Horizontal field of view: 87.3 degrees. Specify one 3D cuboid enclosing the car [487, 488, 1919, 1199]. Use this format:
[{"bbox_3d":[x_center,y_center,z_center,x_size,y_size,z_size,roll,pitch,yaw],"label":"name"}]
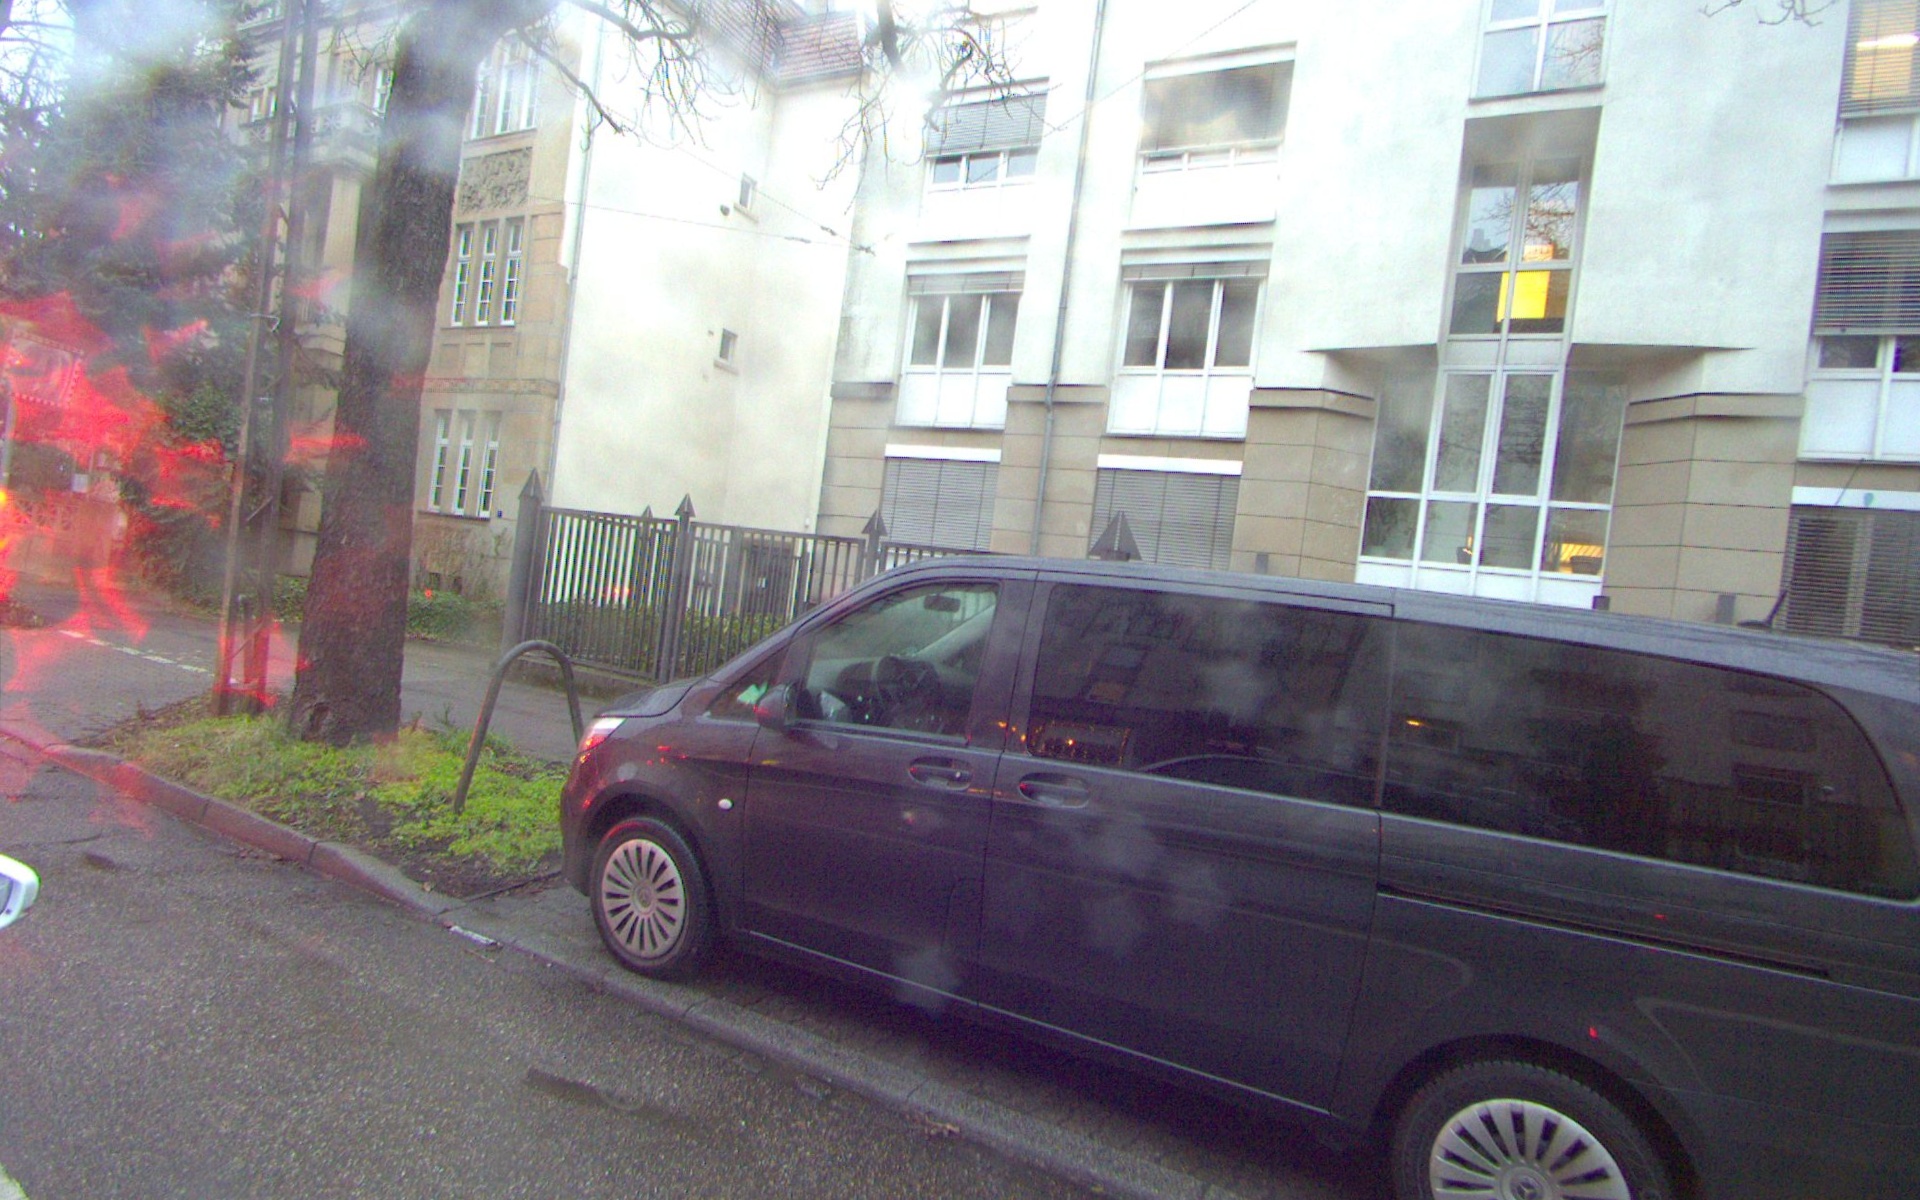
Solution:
[{"bbox_3d":[0.683,0.801,4.054,4.877,1.899,2.035,7,0,28],"label":"car"}]
